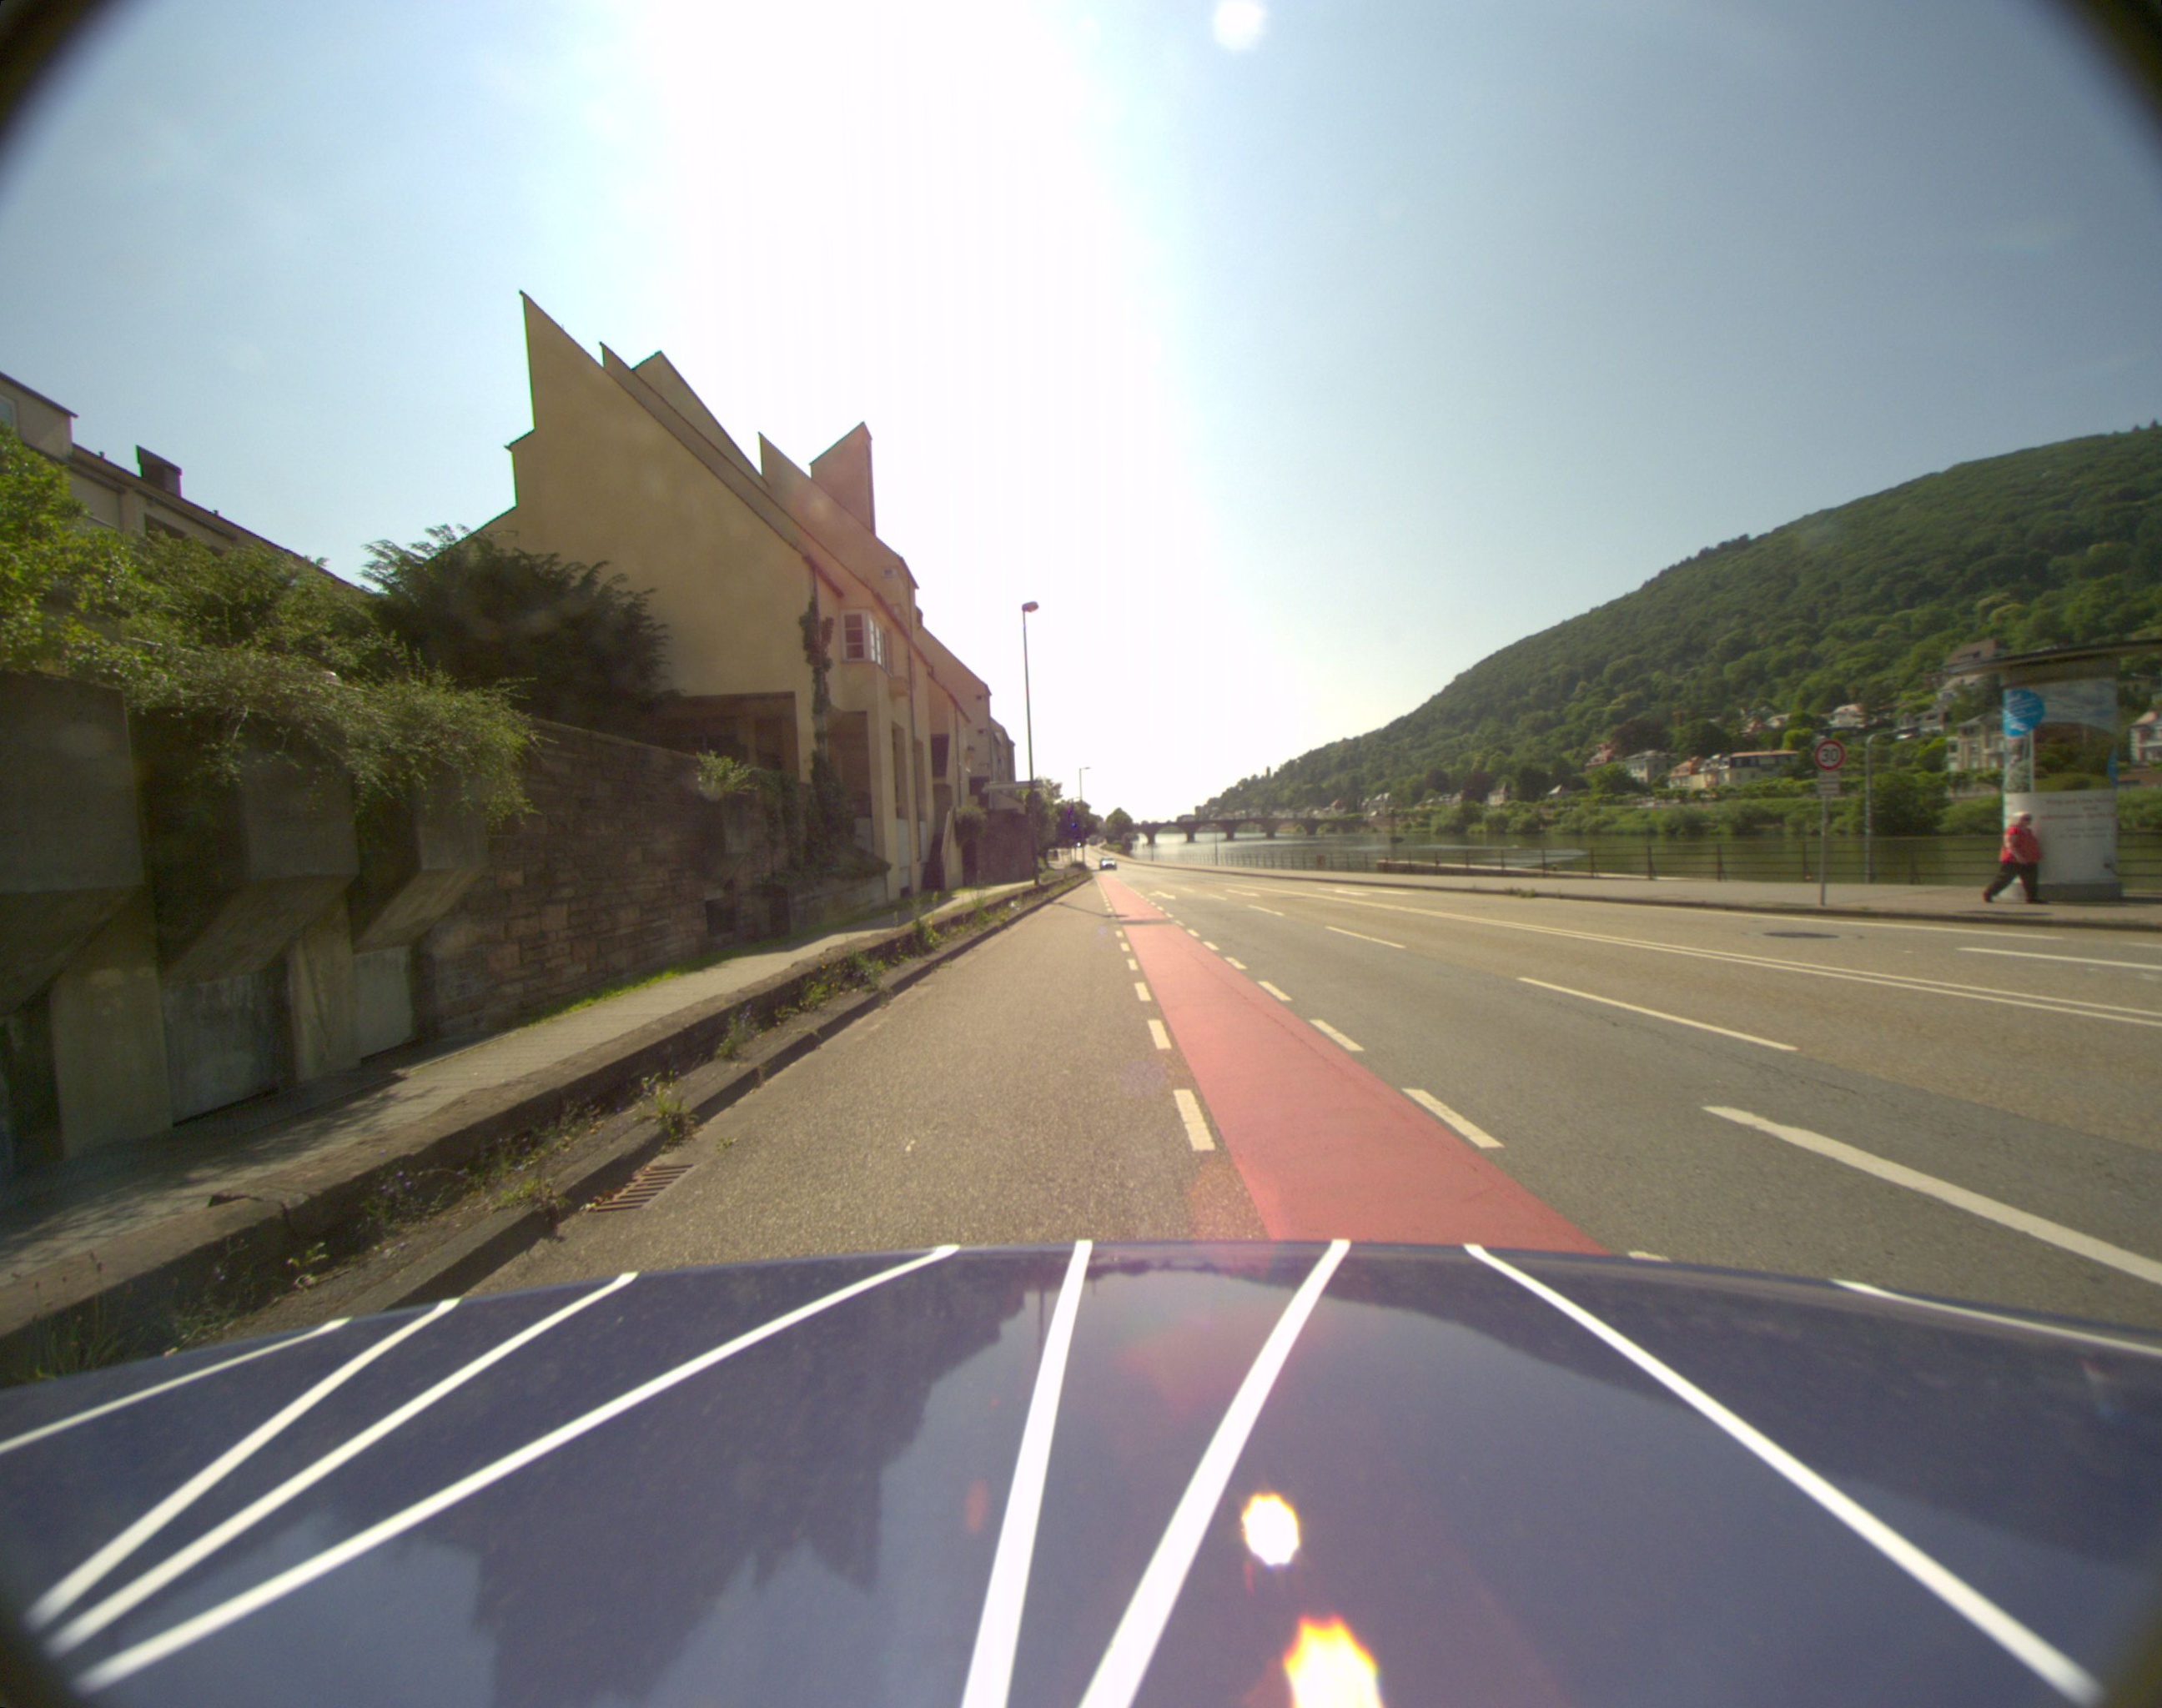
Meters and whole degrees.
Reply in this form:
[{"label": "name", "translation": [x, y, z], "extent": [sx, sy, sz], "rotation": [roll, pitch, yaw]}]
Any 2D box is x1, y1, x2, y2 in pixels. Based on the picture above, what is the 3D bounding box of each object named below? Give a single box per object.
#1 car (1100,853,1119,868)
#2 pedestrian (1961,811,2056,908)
[{"label": "car", "translation": [3.100, 0.692, 82.713], "extent": [1.998, 1.434, 4.000], "rotation": [-1, 0, 2]}, {"label": "pedestrian", "translation": [16.106, 0.087, 13.210], "extent": [0.705, 1.612, 0.816], "rotation": [-3, 1, -12]}]
